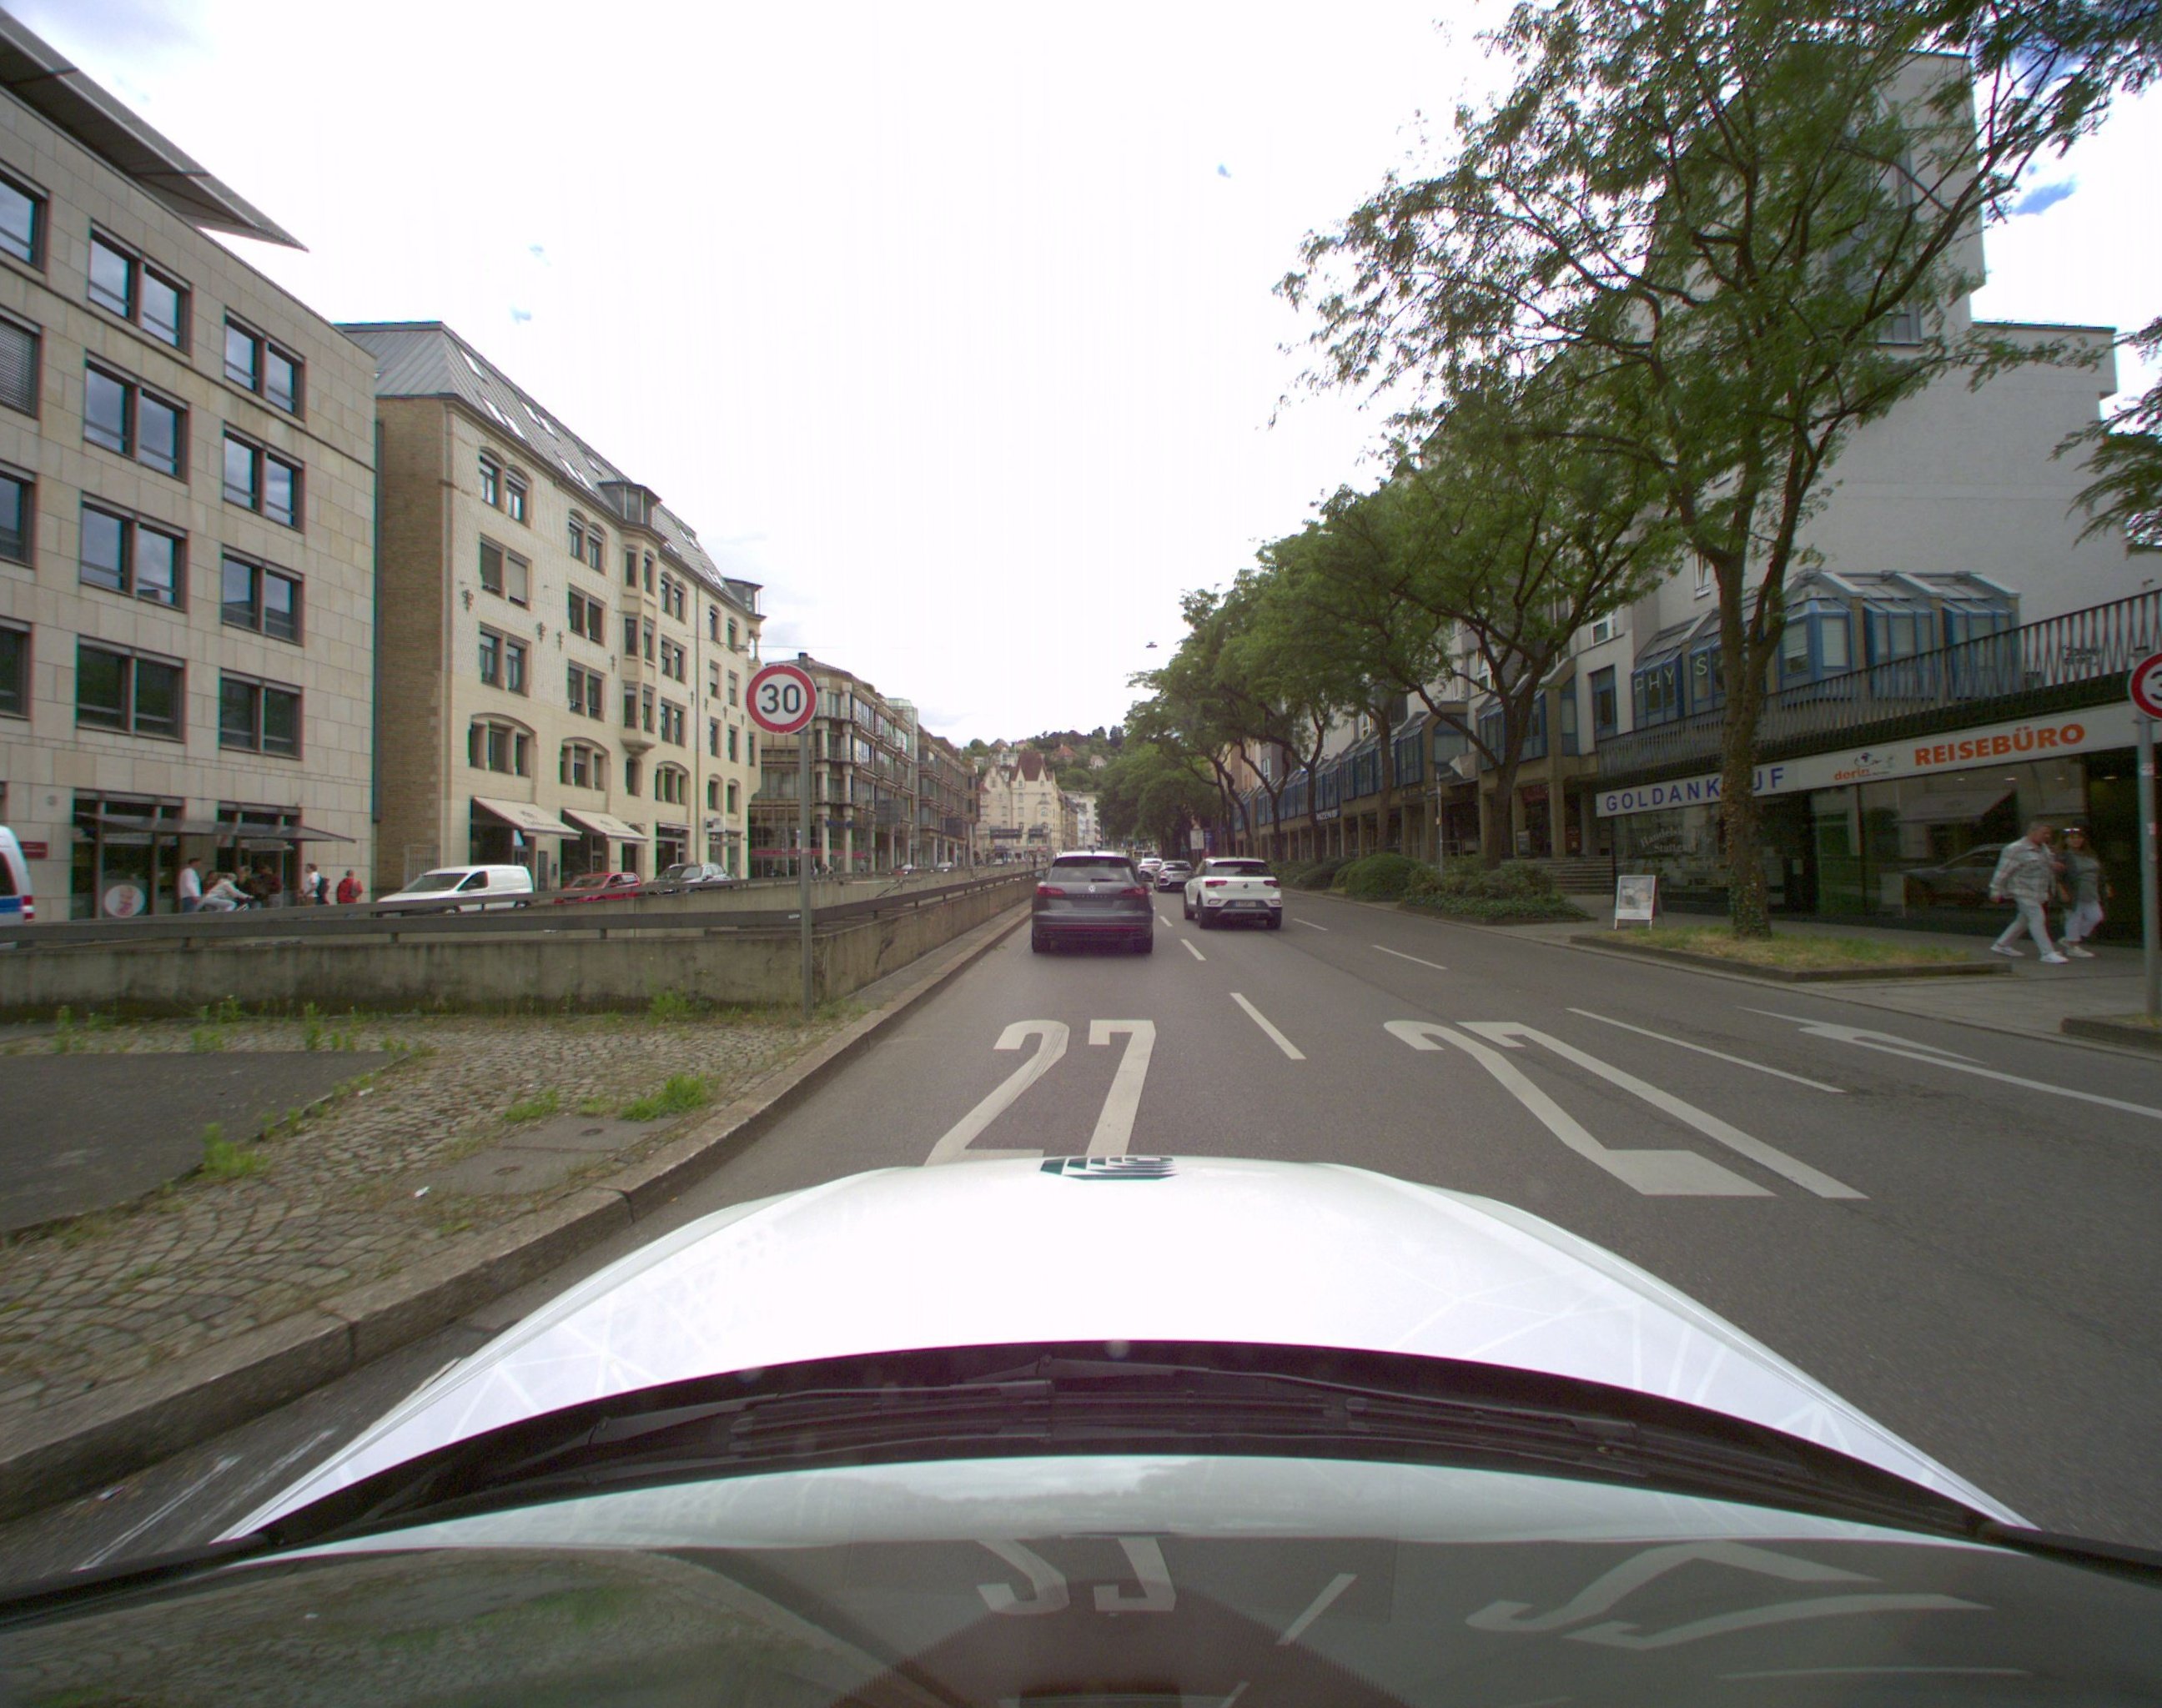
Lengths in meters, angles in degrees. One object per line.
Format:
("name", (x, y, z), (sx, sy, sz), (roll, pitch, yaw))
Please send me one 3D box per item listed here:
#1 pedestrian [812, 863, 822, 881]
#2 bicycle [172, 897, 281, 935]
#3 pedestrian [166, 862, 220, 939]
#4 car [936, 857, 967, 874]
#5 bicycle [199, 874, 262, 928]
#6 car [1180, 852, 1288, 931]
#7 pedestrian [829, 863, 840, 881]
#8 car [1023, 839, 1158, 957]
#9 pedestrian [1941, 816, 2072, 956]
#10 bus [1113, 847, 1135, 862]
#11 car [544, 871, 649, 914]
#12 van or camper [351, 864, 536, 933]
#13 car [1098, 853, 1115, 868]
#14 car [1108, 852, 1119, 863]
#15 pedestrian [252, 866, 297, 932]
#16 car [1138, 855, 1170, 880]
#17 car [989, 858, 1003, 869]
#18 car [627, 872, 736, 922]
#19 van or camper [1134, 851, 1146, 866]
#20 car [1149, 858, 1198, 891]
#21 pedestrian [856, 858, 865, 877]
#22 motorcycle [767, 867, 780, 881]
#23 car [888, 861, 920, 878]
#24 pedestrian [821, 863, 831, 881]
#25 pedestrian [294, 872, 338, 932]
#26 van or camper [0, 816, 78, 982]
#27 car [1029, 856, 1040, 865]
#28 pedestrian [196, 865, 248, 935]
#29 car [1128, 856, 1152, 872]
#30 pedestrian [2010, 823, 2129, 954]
("pedestrian", (-23.364, 1.611, 72.126), (0.699, 1.544, 0.845), (-1, 0, -6))
("bicycle", (-20.819, 1.487, 19.907), (0.630, 0.762, 1.957), (-1, 0, -2))
("pedestrian", (-22.361, 1.158, 20.513), (0.614, 1.875, 0.680), (-1, -1, 0))
("car", (-13.112, 1.133, 82.817), (1.984, 1.585, 4.893), (-1, 0, 4))
("bicycle", (-20.826, 1.137, 19.961), (0.630, 1.260, 0.844), (-1, 0, -2))
("car", (3.418, 0.781, 18.907), (1.791, 1.545, 3.936), (1, 1, 1))
("pedestrian", (-21.905, 1.566, 72.326), (0.699, 1.544, 0.845), (-1, 0, -6))
("car", (0.147, 0.661, 14.323), (1.964, 1.695, 4.224), (-2, 0, 0))
("pedestrian", (12.196, 0.406, 10.767), (0.594, 1.754, 0.939), (-2, 0, -4))
("bus", (11.193, 0.059, 210.222), (3.827, 3.532, 17.290), (-1, 0, 9))
("car", (-18.178, 1.415, 30.743), (1.781, 1.406, 3.583), (-1, 0, 0))
("van or camper", (-18.525, 1.213, 23.996), (1.861, 1.751, 4.487), (-1, 0, 1))
("car", (2.892, 0.756, 92.885), (1.825, 1.567, 3.768), (-2, 0, 2))
("car", (5.742, 0.642, 145.276), (1.824, 1.874, 4.874), (-2, 0, 3))
("pedestrian", (-22.233, 1.229, 22.460), (0.550, 1.753, 0.680), (-1, -1, 0))
("car", (4.705, 0.863, 52.780), (1.825, 1.517, 3.768), (-2, 0, 2))
("car", (-14.872, 1.604, 142.716), (1.986, 1.768, 4.282), (-1, 0, 2))
("car", (-14.239, 1.486, 29.334), (1.914, 1.527, 4.535), (-1, 0, -4))
("van or camper", (13.506, 1.016, 185.636), (2.616, 3.178, 5.808), (-1, 0, 3))
("car", (4.271, 0.926, 38.124), (1.827, 1.432, 4.146), (0, 0, 0))
("pedestrian", (-21.389, 1.329, 78.955), (0.530, 1.793, 0.695), (2, -1, 2))
("motorcycle", (-29.450, 1.929, 78.080), (0.792, 1.257, 1.931), (-1, 0, -11))
("car", (-16.429, 1.446, 75.912), (1.988, 1.464, 4.882), (-1, 0, -2))
("pedestrian", (-22.625, 1.586, 72.210), (0.699, 1.544, 0.845), (-1, 0, -6))
("pedestrian", (-20.916, 1.300, 22.273), (0.550, 1.577, 0.680), (-1, -1, 0))
("van or camper", (-19.272, 0.762, 11.240), (2.990, 2.726, 6.248), (-1, 0, 2))
("car", (-10.039, 1.386, 175.429), (1.986, 1.768, 4.282), (-1, 0, 2))
("pedestrian", (-21.566, 1.137, 20.456), (0.552, 1.717, 0.680), (0, 0, 2))
("car", (5.401, 0.867, 74.739), (1.827, 1.363, 3.765), (-2, 0, -1))
("pedestrian", (12.934, 0.436, 10.679), (0.594, 1.629, 0.756), (-2, 0, -4))
